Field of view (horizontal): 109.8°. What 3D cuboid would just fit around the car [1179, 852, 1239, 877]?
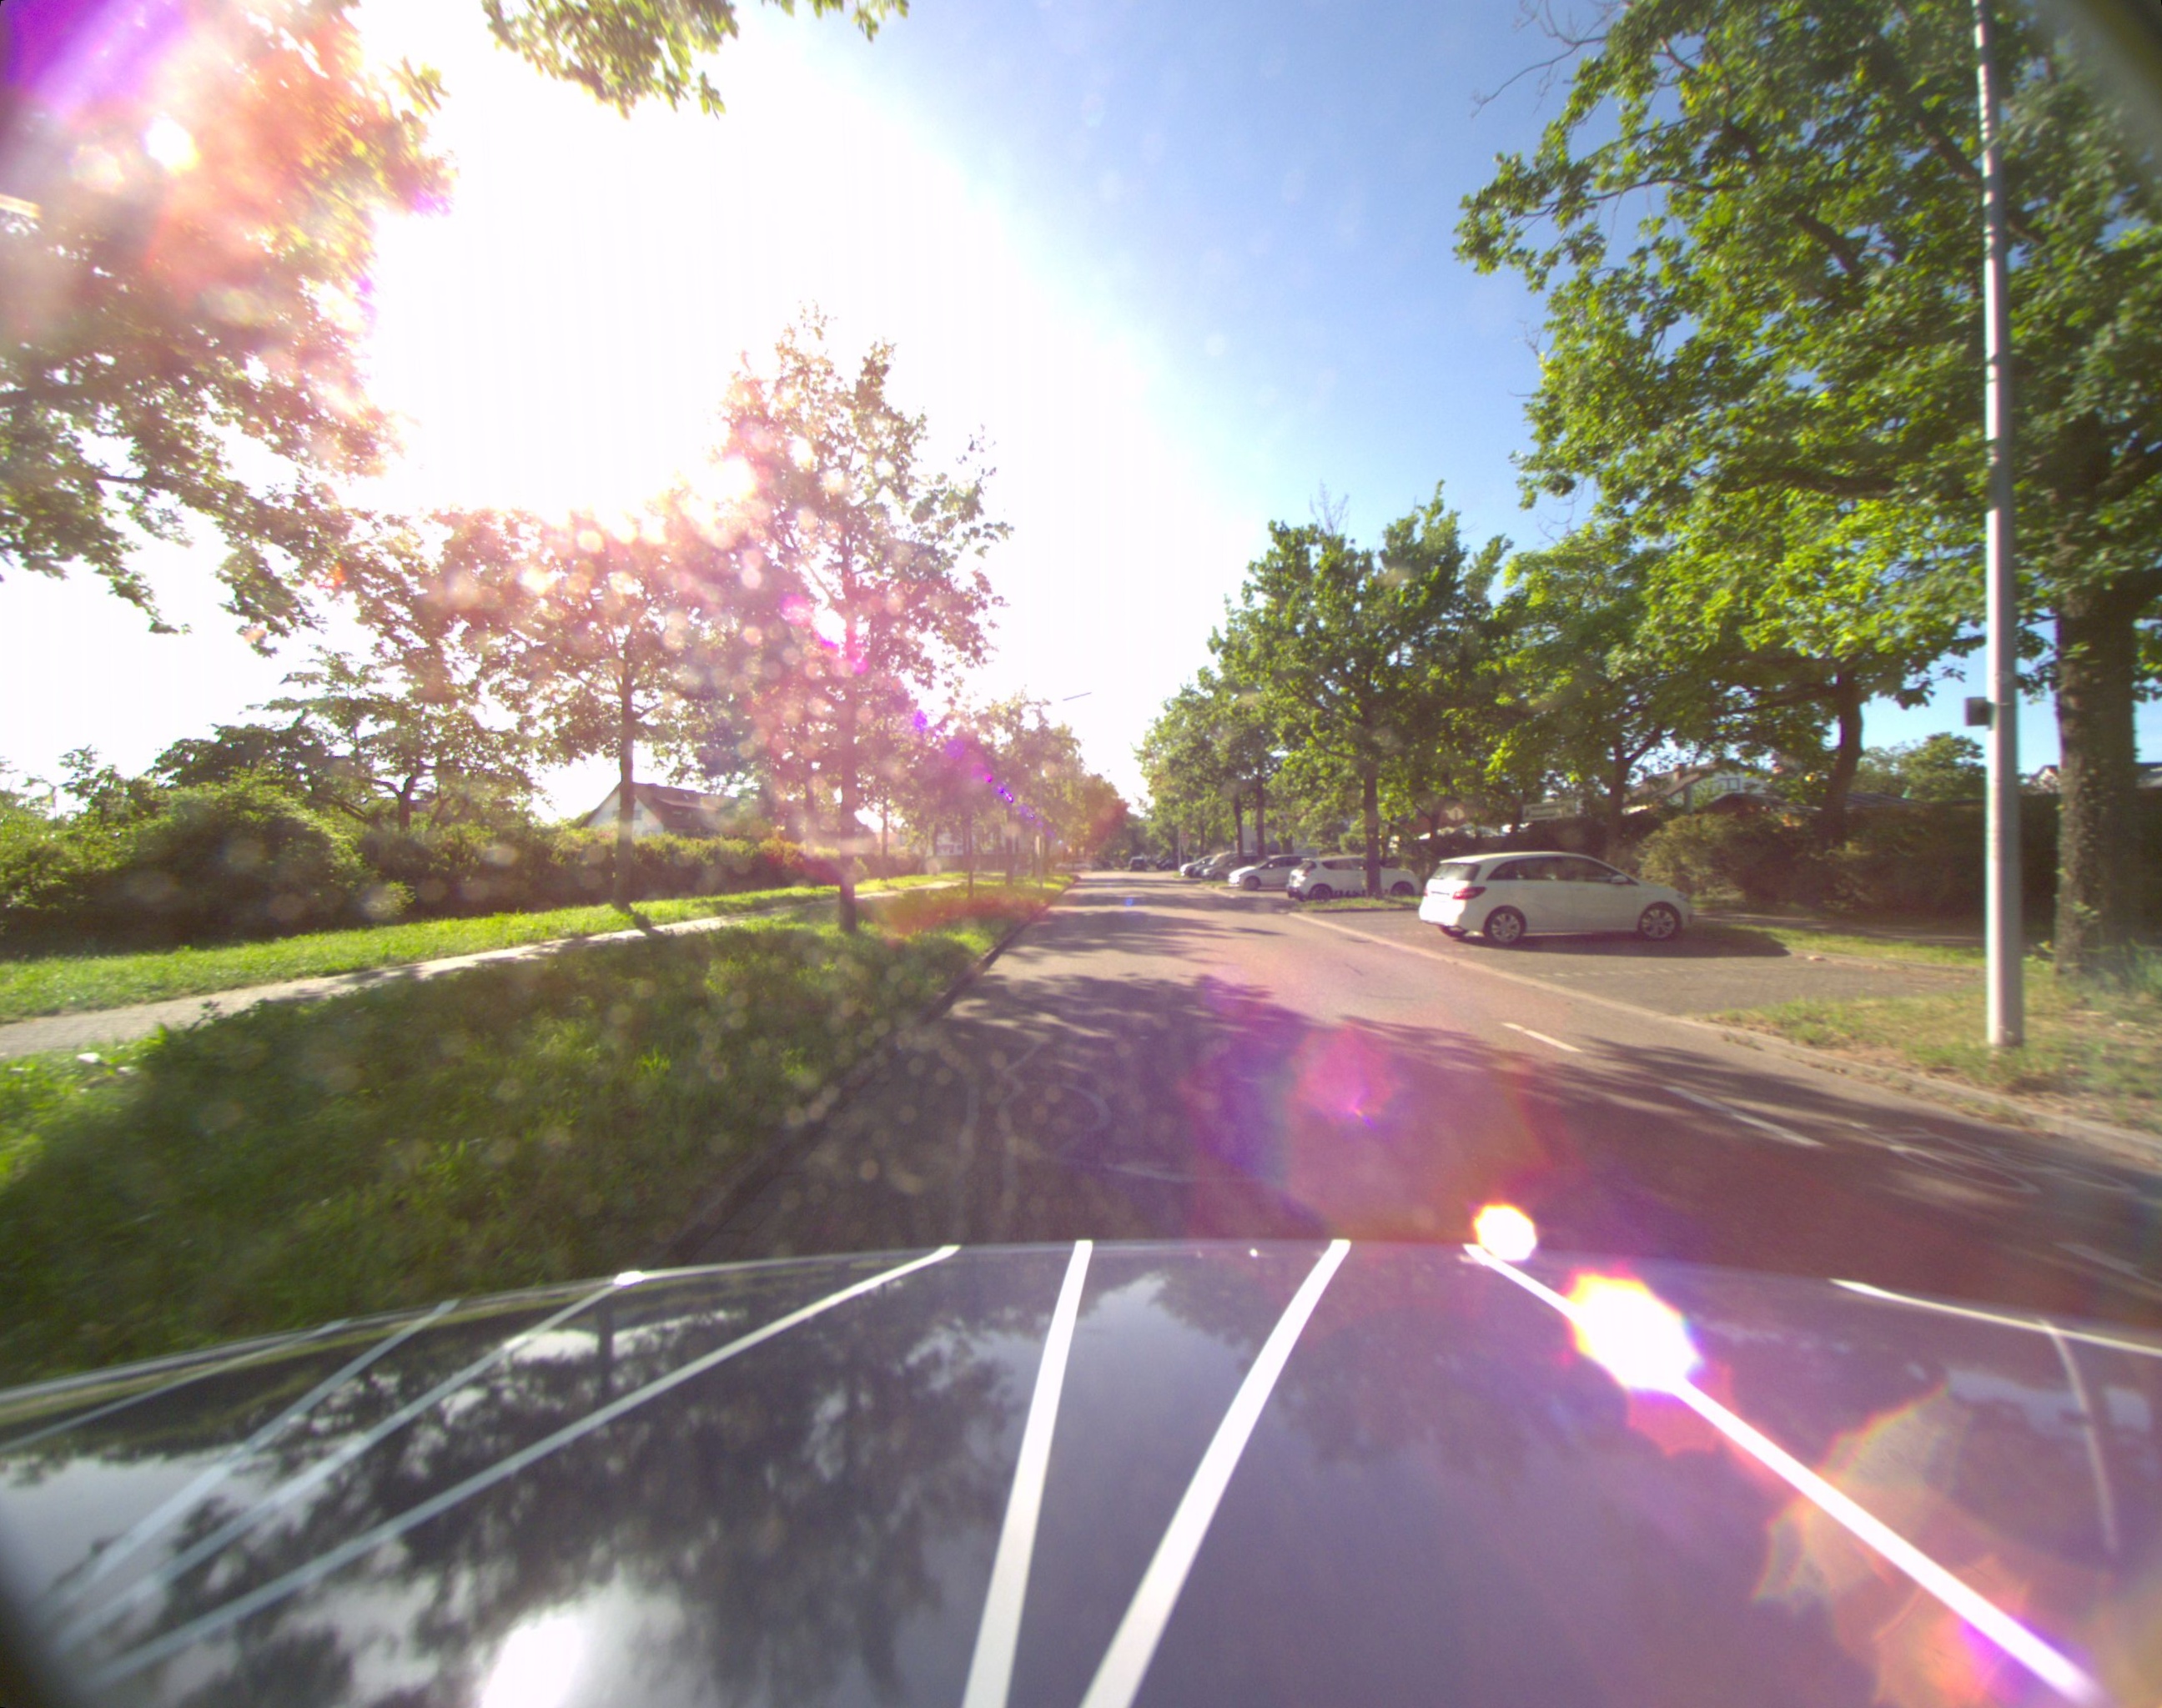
[{"bbox_3d":[9.266,0.742,55.249,4.072,1.633,1.876,-2,0,4],"label":"car"}]

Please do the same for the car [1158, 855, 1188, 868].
[{"bbox_3d":[12.600,0.979,103.722,4.033,1.767,1.942,0,0,7],"label":"car"}]

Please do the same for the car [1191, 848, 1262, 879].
[{"bbox_3d":[9.480,0.620,49.852,4.238,1.872,1.999,-2,0,1],"label":"car"}]

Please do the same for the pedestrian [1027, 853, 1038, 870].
[{"bbox_3d":[-5.239,0.807,82.210,0.871,1.855,0.664,-1,1,-43],"label":"pedestrian"}]

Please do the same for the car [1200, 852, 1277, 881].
[{"bbox_3d":[9.190,0.724,44.686,4.145,1.547,1.866,-2,0,3],"label":"car"}]

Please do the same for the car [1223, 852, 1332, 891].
[{"bbox_3d":[8.856,0.775,34.572,4.422,1.547,2.088,-2,0,3],"label":"car"}]

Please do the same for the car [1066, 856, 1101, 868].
[{"bbox_3d":[0.306,1.017,99.509,4.511,1.470,1.942,0,0,3],"label":"car"}]

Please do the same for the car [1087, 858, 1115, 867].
[{"bbox_3d":[3.350,1.345,125.546,4.511,1.470,1.942,0,0,3],"label":"car"}]

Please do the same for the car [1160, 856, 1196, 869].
[{"bbox_3d":[11.365,0.954,89.012,4.033,1.470,1.942,0,0,7],"label":"car"}]

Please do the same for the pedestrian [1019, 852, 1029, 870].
[{"bbox_3d":[-6.244,0.740,83.181,0.609,2.002,0.836,0,1,43],"label":"pedestrian"}]

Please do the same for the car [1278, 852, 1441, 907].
[{"bbox_3d":[8.789,0.791,24.285,4.423,1.502,2.088,-2,0,1],"label":"car"}]

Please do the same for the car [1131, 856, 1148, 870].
[{"bbox_3d":[5.870,0.860,76.471,1.688,1.394,4.428,0,0,3],"label":"car"}]

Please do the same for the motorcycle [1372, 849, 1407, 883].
[{"bbox_3d":[13.858,0.534,34.219,0.739,1.424,1.991,-4,0,2],"label":"motorcycle"}]

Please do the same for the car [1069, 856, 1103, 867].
[{"bbox_3d":[0.727,1.011,104.541,4.511,1.470,1.942,0,0,3],"label":"car"}]

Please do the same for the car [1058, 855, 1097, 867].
[{"bbox_3d":[-0.435,0.831,90.866,4.511,1.470,1.942,0,0,3],"label":"car"}]

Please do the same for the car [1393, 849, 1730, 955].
[{"bbox_3d":[8.376,0.798,13.591,4.639,1.549,2.191,-2,0,-3],"label":"car"}]
